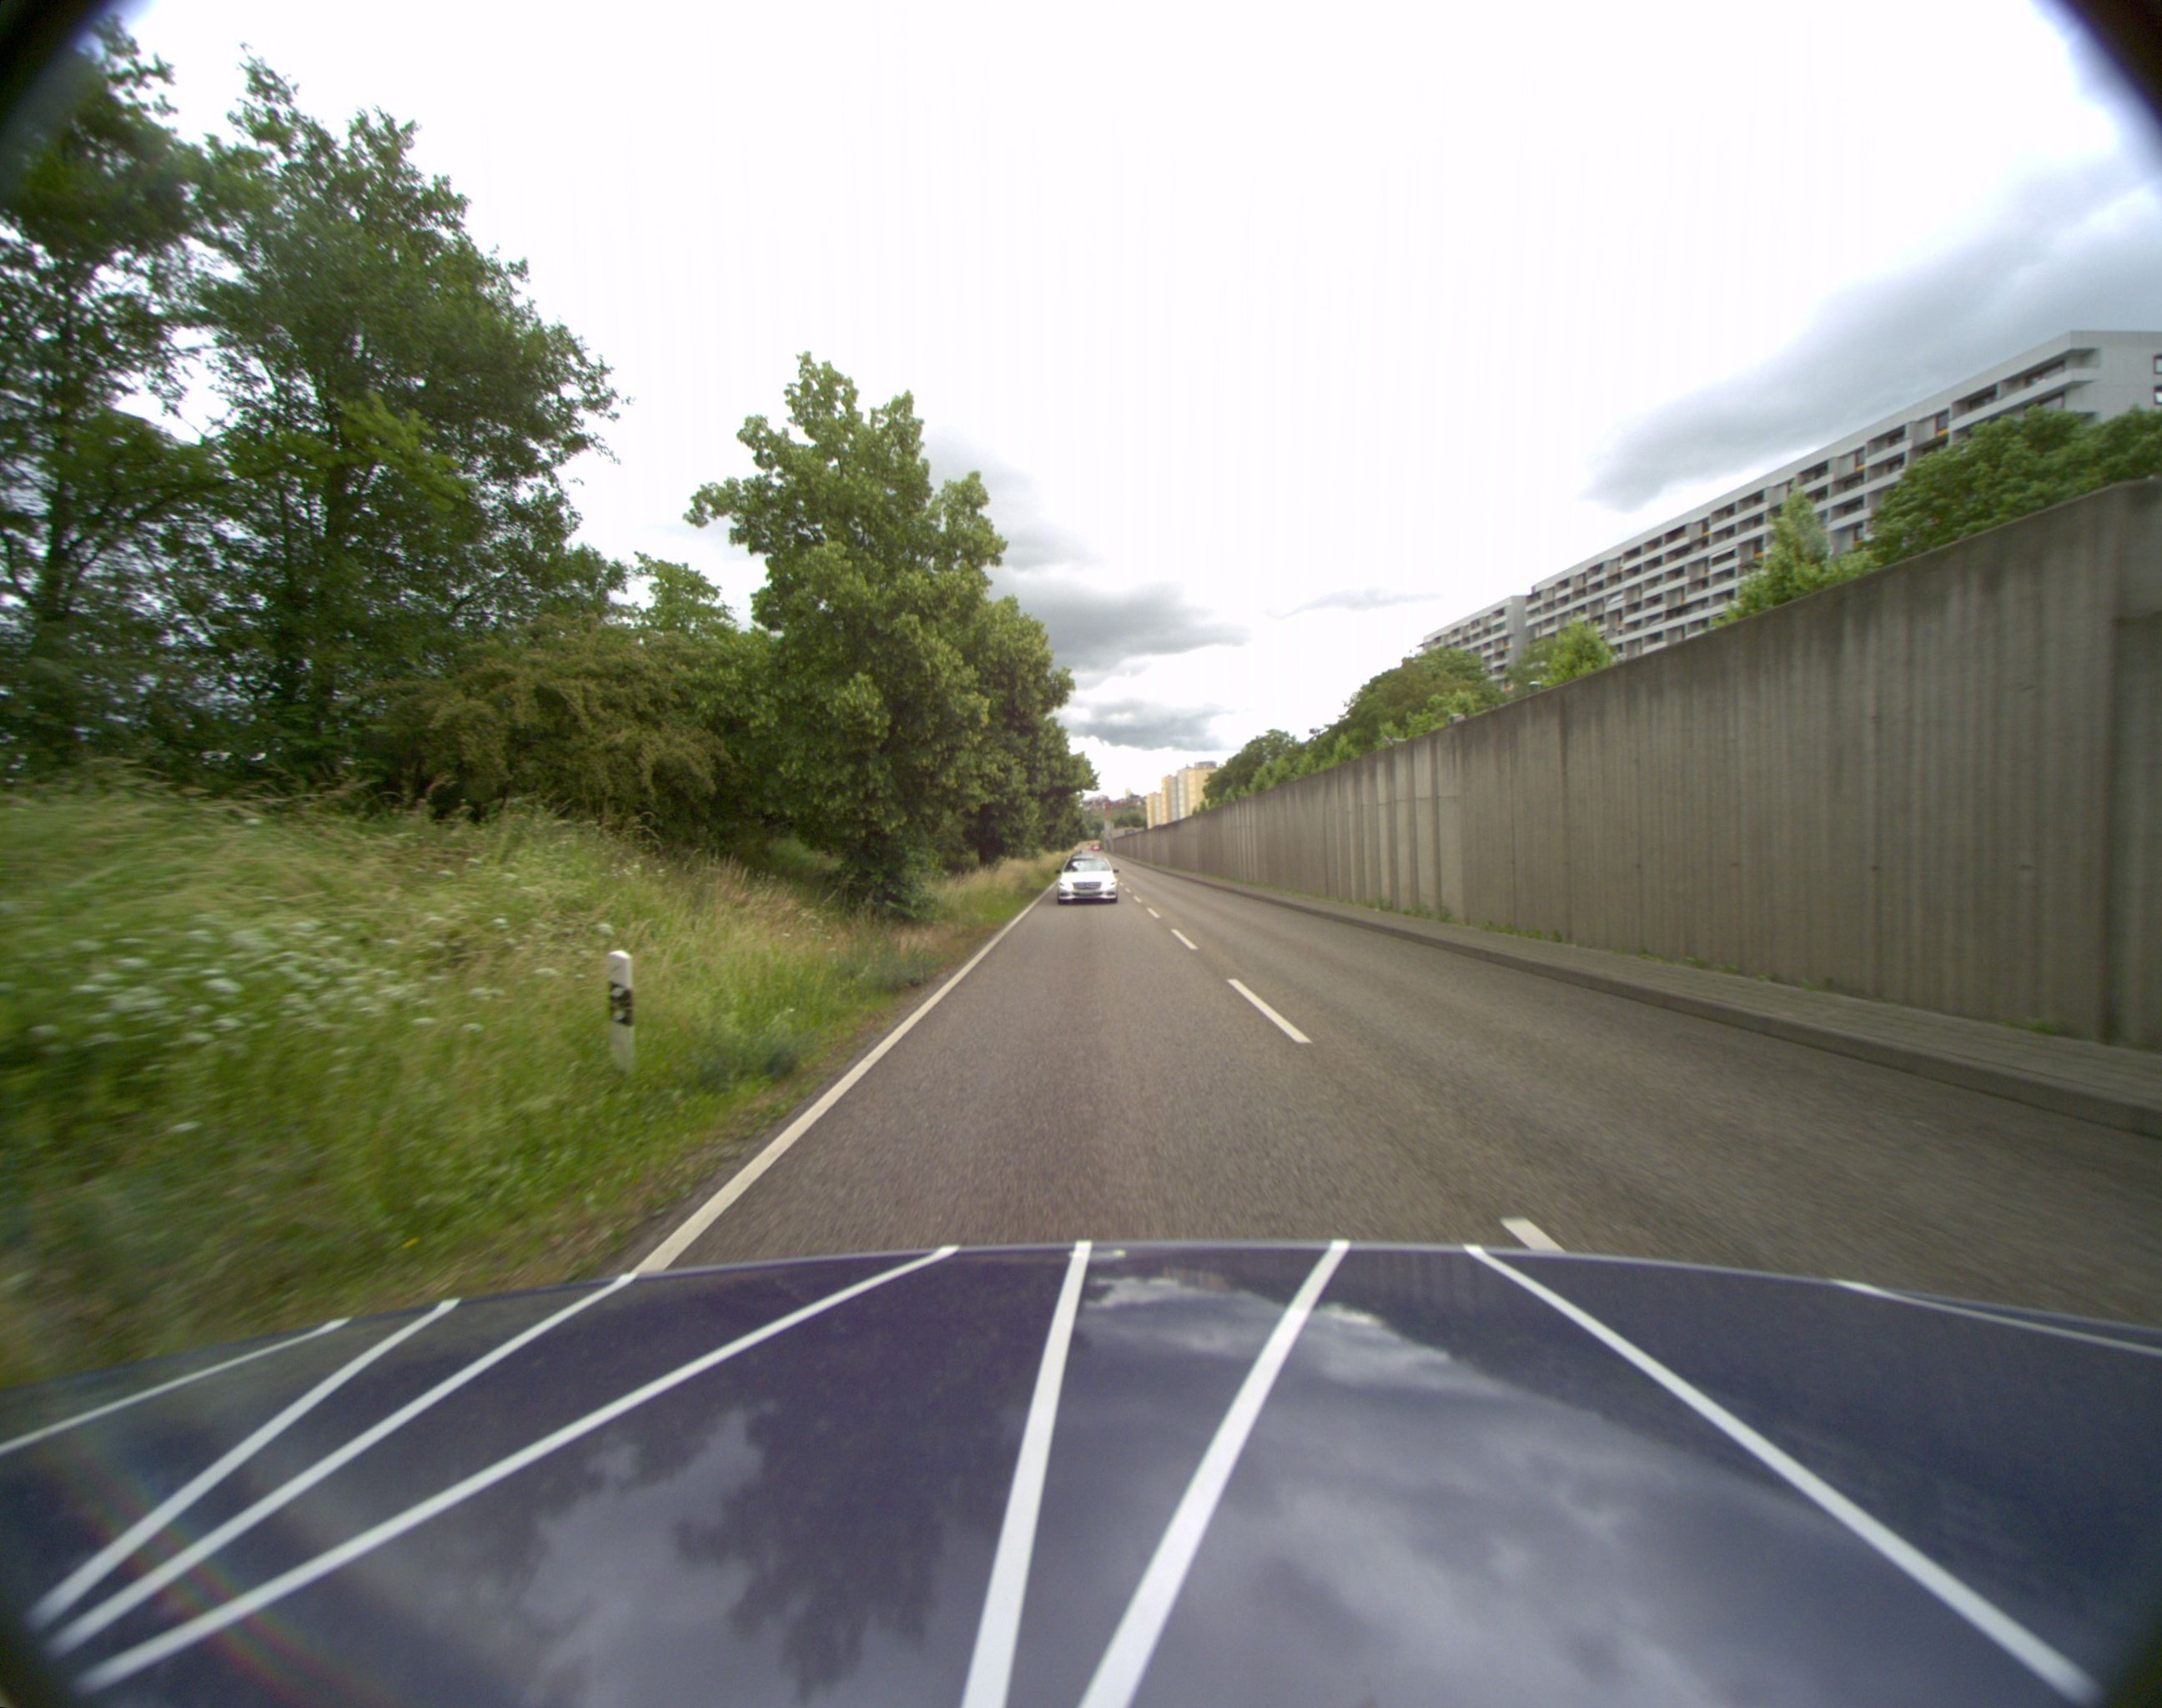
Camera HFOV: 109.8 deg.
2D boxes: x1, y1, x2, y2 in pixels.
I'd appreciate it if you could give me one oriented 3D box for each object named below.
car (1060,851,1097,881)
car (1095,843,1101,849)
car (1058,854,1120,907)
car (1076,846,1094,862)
[{"bbox_3d":[-0.127,0.630,41.649,1.878,1.459,3.999,-2,1,1],"label":"car"},{"bbox_3d":[5.647,-2.649,252.258,1.639,1.477,3.494,-6,-1,1],"label":"car"},{"bbox_3d":[0.259,0.808,25.063,1.842,1.499,4.160,-1,1,1],"label":"car"},{"bbox_3d":[0.494,0.018,87.340,1.998,1.746,4.000,-2,1,1],"label":"car"}]
